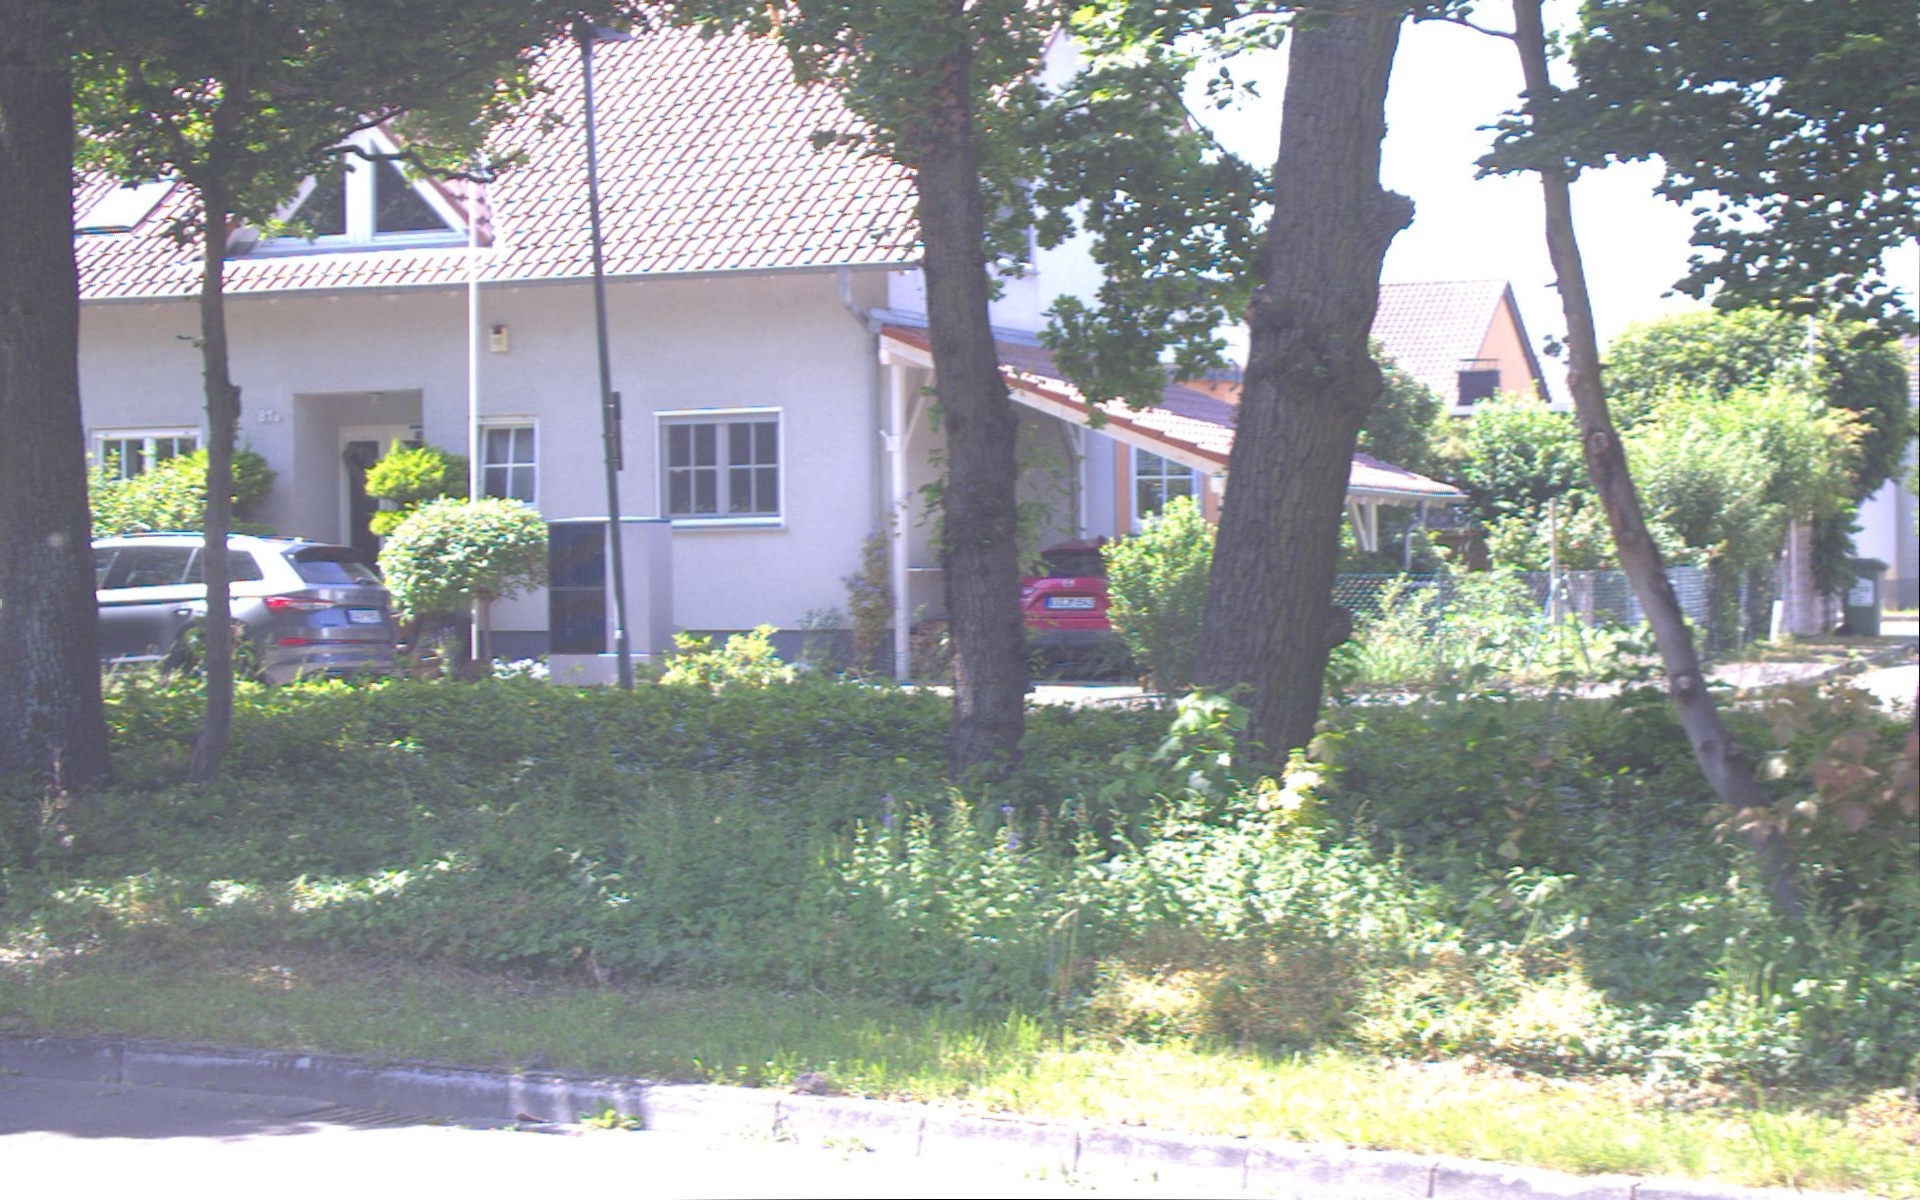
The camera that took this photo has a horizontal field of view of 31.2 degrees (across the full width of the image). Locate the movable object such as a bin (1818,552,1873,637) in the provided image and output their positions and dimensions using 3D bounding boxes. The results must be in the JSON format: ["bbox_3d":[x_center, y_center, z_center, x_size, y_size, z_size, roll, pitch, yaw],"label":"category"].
[{"bbox_3d":[11.750,-0.079,45.611,0.657,1.108,0.457,-1,1,19],"label":"movable object such as a bin"}]

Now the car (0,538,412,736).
[{"bbox_3d":[-7.181,0.322,30.957,4.134,1.699,1.664,0,1,19],"label":"car"}]

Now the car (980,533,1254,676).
[{"bbox_3d":[1.689,0.016,35.790,1.681,1.380,3.690,0,1,23],"label":"car"}]
